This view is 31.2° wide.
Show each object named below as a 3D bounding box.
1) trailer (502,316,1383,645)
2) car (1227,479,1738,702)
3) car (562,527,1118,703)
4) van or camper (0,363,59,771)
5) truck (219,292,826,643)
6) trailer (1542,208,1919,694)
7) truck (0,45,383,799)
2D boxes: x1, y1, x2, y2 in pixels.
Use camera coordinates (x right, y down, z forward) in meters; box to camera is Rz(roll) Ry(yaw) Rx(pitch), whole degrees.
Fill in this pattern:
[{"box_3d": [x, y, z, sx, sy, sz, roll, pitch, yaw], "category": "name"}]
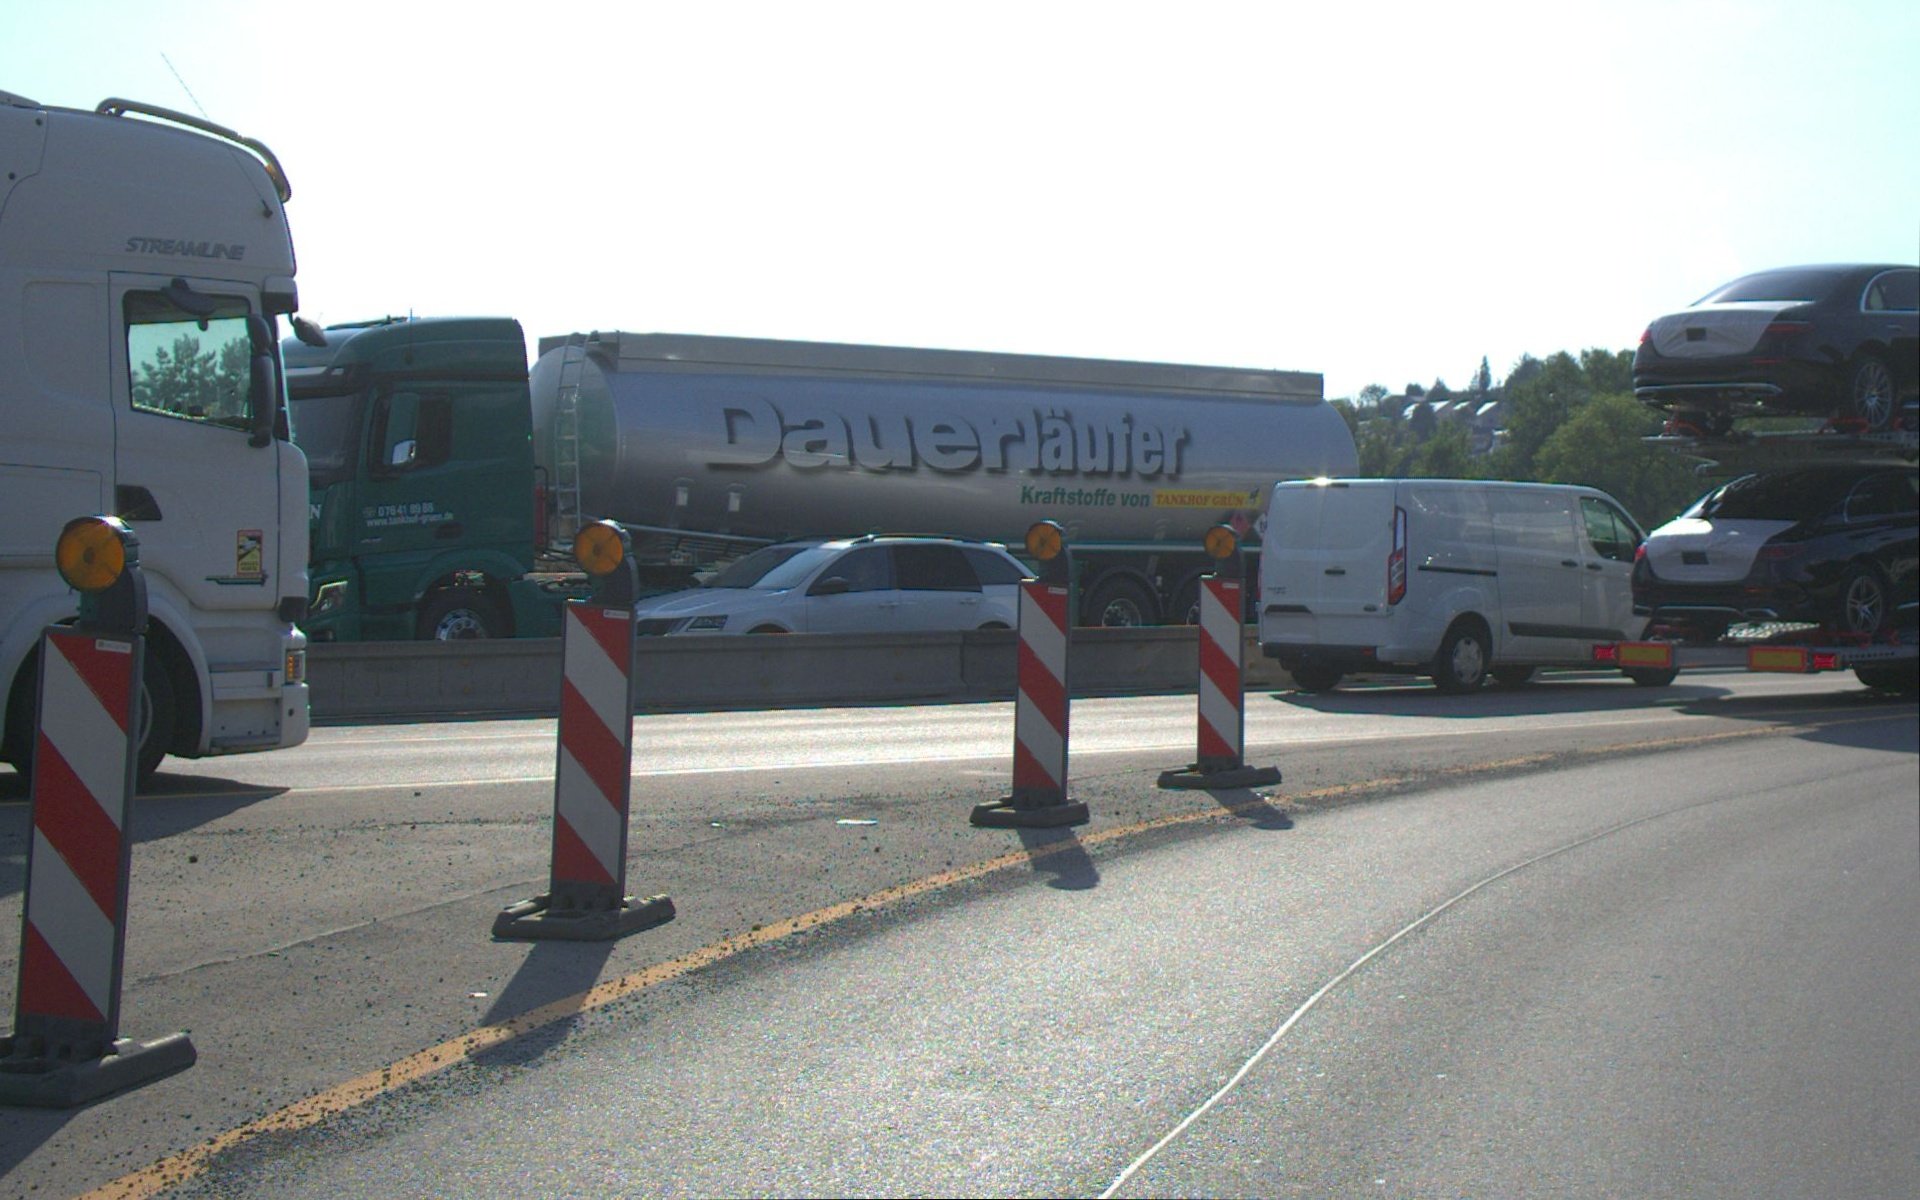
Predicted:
[{"box_3d": [0.166, -1.098, 37.649, 10.950, 3.124, 2.146, 1, -2, -42], "category": "trailer"}, {"box_3d": [5.045, -0.103, 32.806, 4.965, 1.974, 2.034, 0, 1, -41], "category": "car"}, {"box_3d": [-1.051, 0.126, 32.045, 4.965, 1.495, 2.034, 0, 1, -41], "category": "car"}, {"box_3d": [-8.702, -0.245, 21.010, 5.887, 2.611, 1.999, 1, 0, -42], "category": "van or camper"}, {"box_3d": [-4.199, -1.165, 33.719, 5.672, 3.124, 2.146, 1, -2, -42], "category": "truck"}, {"box_3d": [11.960, -1.125, 34.490, 15.701, 3.983, 2.865, 1, -1, -42], "category": "trailer"}, {"box_3d": [-6.295, -0.923, 18.073, 5.994, 3.865, 2.487, 1, -1, -42], "category": "truck"}]
